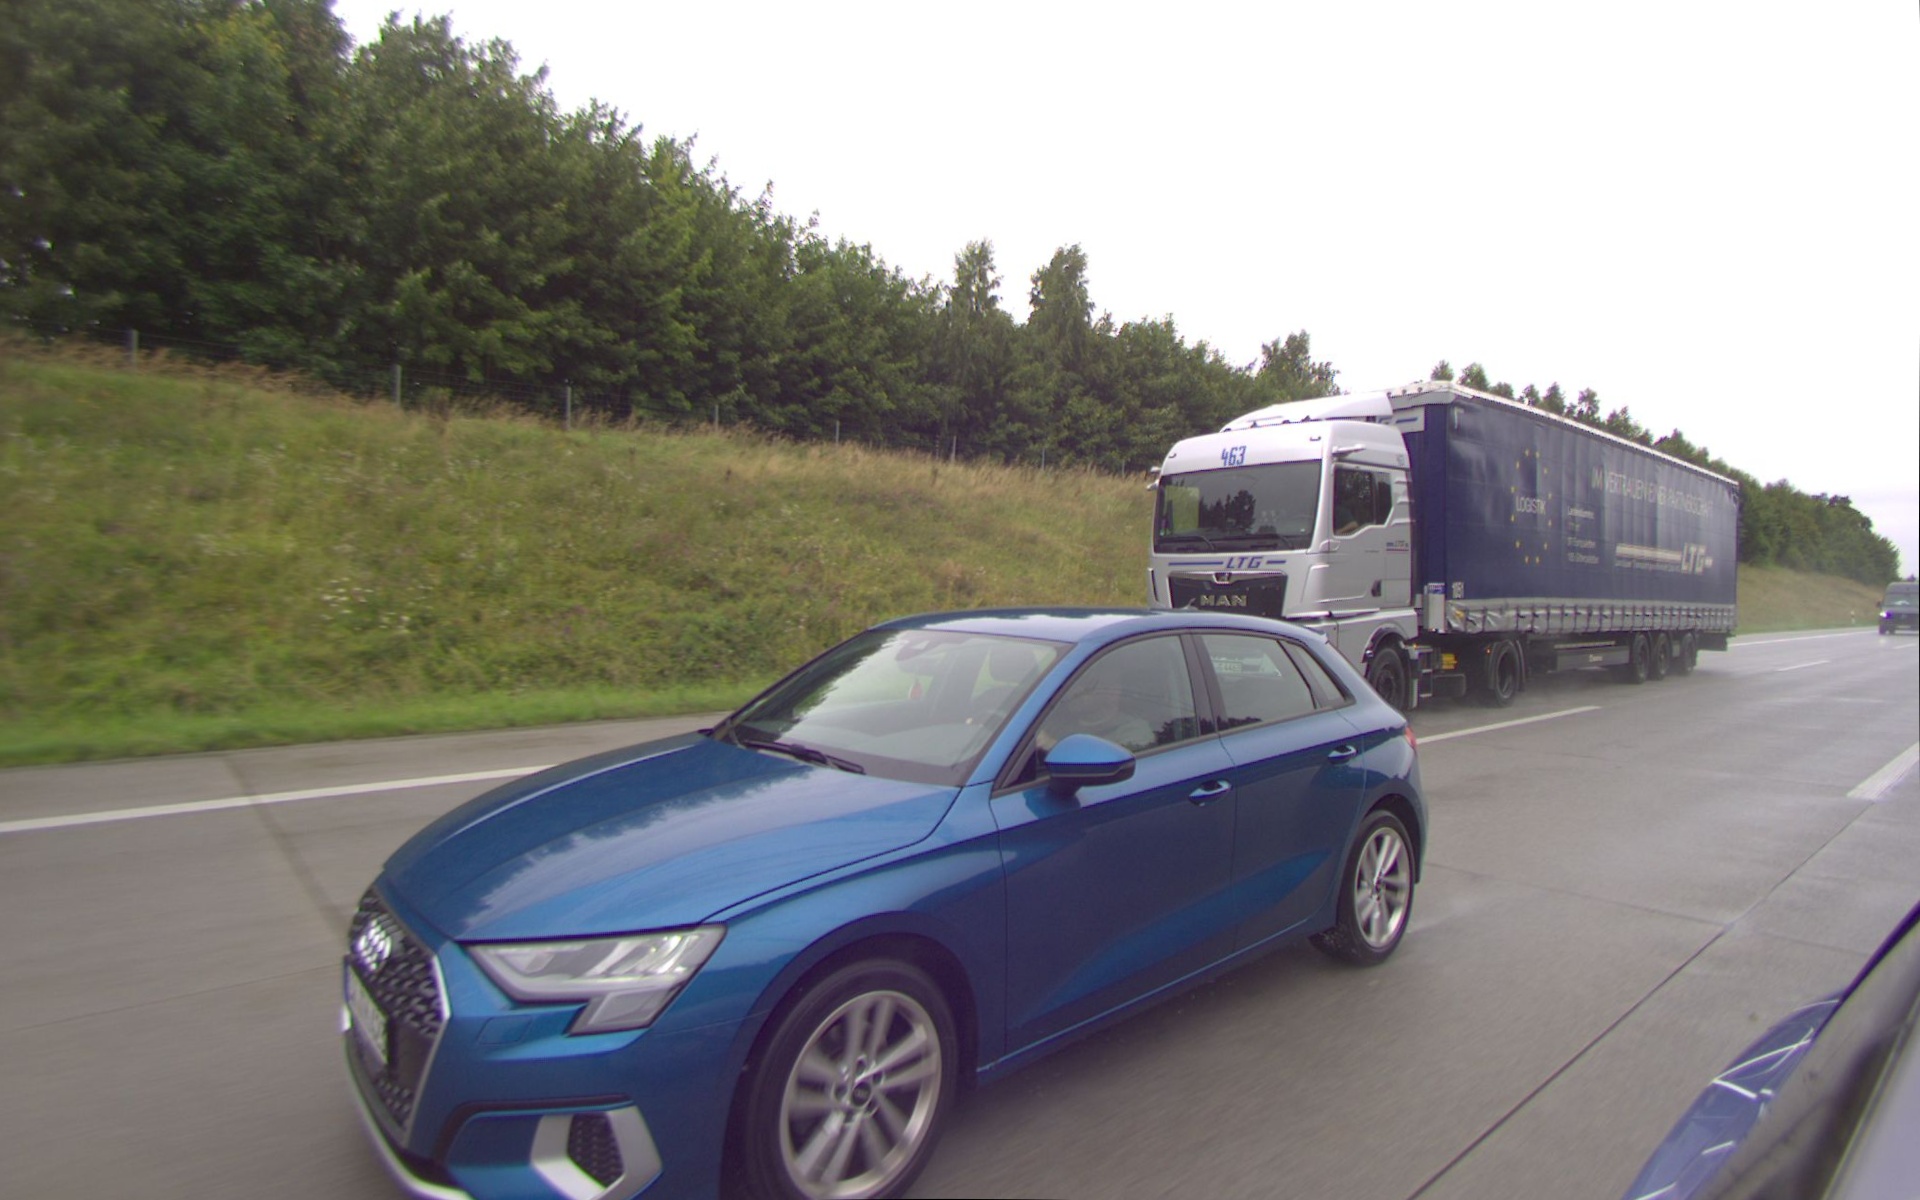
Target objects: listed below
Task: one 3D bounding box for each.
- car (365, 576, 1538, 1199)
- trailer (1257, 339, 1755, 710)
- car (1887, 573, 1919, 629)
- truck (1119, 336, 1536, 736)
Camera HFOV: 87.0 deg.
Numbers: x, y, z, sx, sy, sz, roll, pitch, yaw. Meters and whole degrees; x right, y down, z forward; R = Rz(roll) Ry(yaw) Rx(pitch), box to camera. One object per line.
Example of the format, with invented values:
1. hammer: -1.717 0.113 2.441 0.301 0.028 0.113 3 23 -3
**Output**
1. car: 0.441 0.661 3.982 4.590 1.477 1.733 -1 2 -41
2. trailer: 10.667 -0.892 18.012 14.938 4.435 2.711 0 0 -41
3. car: 48.739 0.097 51.122 6.467 2.693 1.945 1 -1 -40
4. truck: 4.867 -0.640 12.959 5.585 4.004 2.641 0 0 -41
